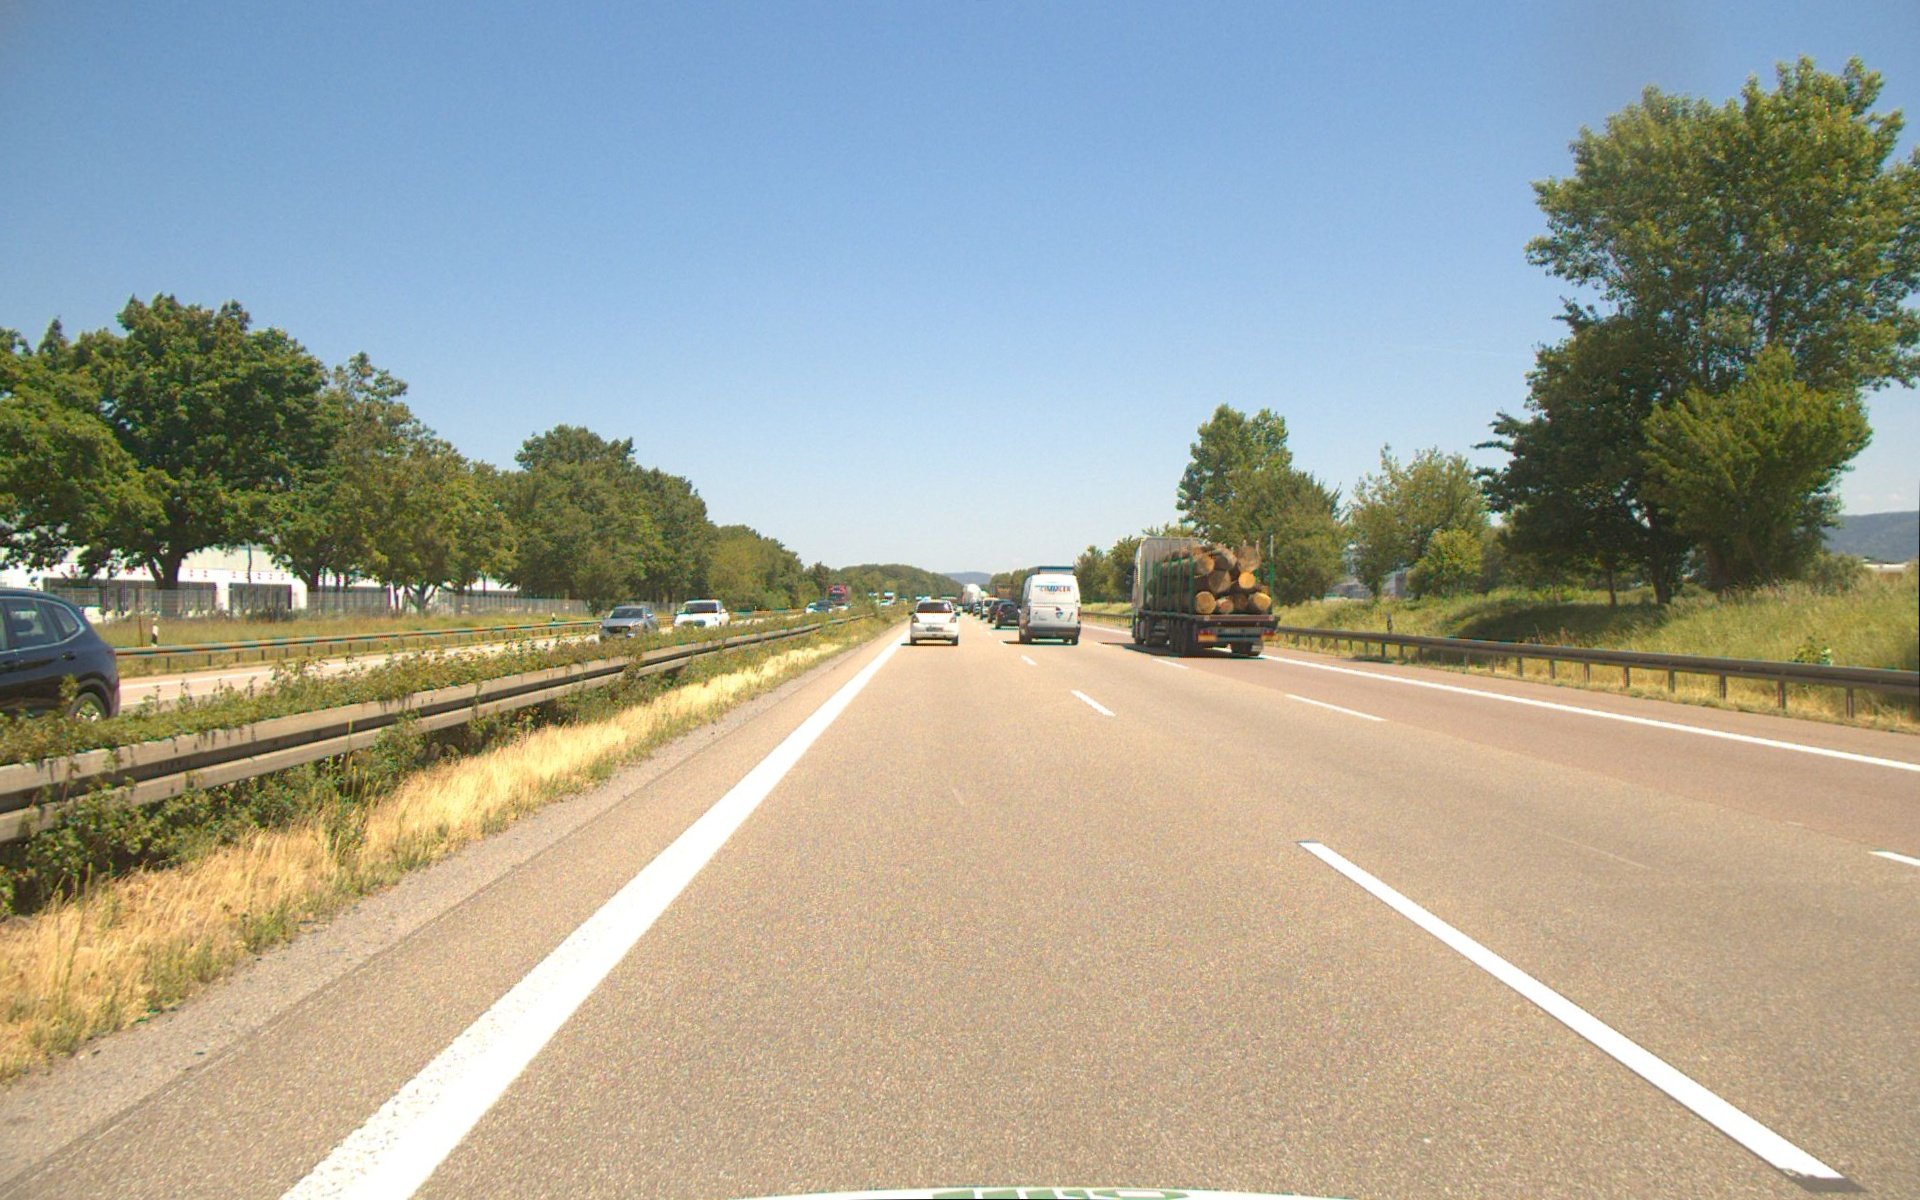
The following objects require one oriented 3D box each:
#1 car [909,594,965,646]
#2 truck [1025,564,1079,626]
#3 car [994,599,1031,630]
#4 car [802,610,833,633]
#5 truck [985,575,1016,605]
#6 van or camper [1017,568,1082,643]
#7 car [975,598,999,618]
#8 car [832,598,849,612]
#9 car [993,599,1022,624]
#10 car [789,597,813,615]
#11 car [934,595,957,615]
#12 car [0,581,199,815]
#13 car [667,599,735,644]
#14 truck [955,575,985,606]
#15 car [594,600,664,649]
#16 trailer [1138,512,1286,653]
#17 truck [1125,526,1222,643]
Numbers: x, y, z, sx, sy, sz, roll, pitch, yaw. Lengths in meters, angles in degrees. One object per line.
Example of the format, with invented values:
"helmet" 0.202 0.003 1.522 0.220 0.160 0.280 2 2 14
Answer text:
"car" -0.836 0.665 57.358 1.820 1.681 3.998 2 0 -2
"truck" 6.790 -0.330 124.975 3.016 4.282 16.842 2 0 0
"car" 2.956 0.802 93.527 1.820 1.681 3.998 1 0 -2
"car" -11.239 1.699 130.581 1.953 1.668 4.858 -4 0 -1
"truck" 5.873 -1.396 244.940 3.193 4.282 16.832 2 0 -3
"van or camper" 3.304 0.218 62.234 2.016 2.668 5.984 1 0 -1
"car" 2.278 0.672 140.334 1.820 1.681 3.998 1 0 -2
"car" -15.225 0.620 210.486 1.808 1.711 4.813 -2 0 -1
"car" 3.371 0.820 118.989 1.820 1.681 3.998 1 0 -2
"car" -15.585 0.604 162.662 1.954 1.668 4.857 -4 0 -2
"car" -1.265 0.435 141.613 1.820 1.681 3.998 1 0 -2
"car" -8.885 0.790 14.365 1.953 1.919 5.647 2 0 -1
"car" -10.147 0.822 65.162 1.953 1.668 4.571 2 0 -1
"truck" 1.312 -1.297 236.141 3.193 4.282 16.832 2 0 -3
"car" -12.967 0.939 65.059 1.834 1.825 4.423 2 0 -1
"trailer" 7.964 -0.510 54.339 2.599 4.028 13.634 1 0 -1
"truck" 7.850 -0.557 61.519 2.615 4.064 6.635 1 0 -1
